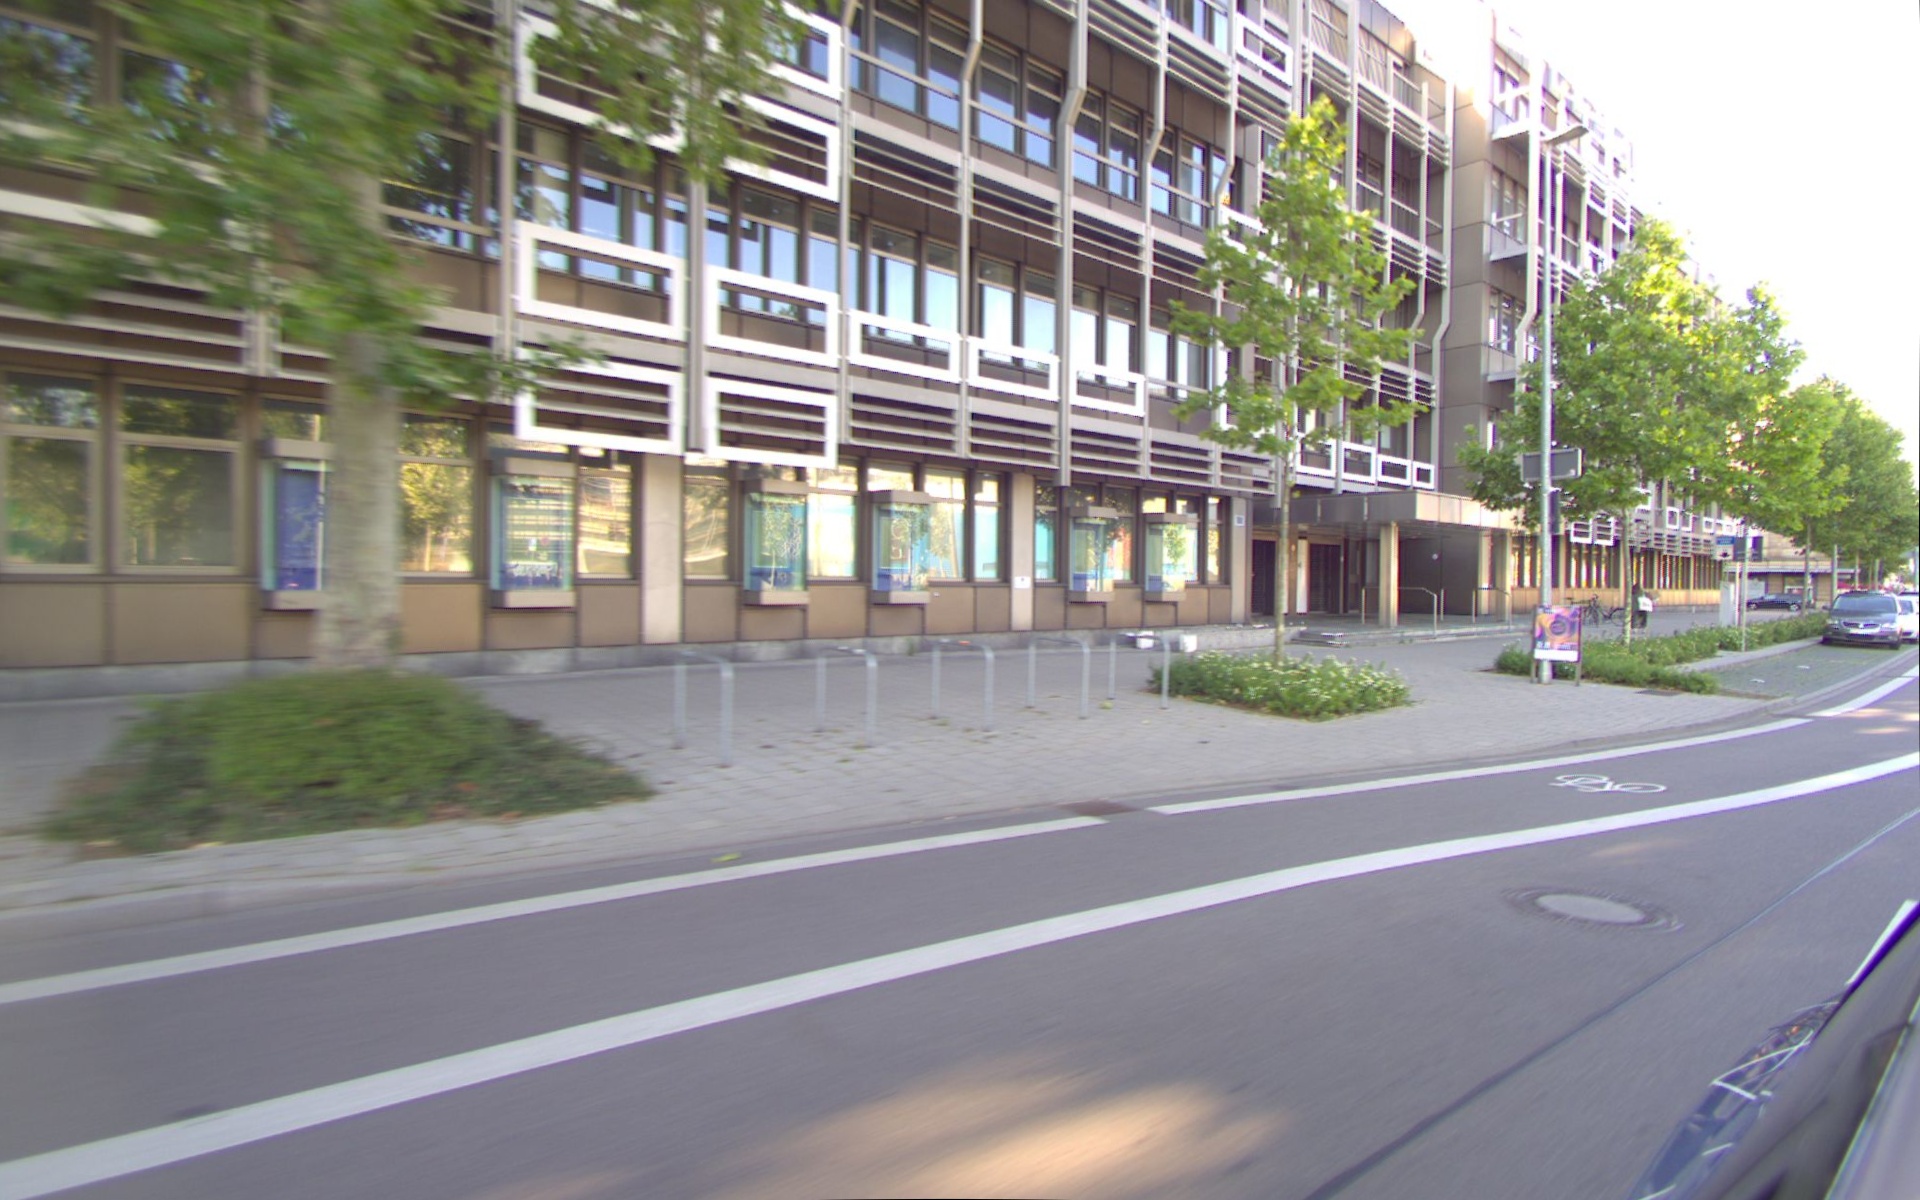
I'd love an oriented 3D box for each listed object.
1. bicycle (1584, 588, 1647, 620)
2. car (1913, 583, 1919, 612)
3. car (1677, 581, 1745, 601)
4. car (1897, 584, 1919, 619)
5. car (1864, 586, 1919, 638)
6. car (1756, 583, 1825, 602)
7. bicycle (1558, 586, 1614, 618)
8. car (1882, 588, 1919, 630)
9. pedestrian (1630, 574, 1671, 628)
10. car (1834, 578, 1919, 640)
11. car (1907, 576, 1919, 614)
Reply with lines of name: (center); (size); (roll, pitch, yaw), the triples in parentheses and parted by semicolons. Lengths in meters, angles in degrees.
bicycle: (24.086, 0.136, 37.225); (1.899, 1.106, 0.386); (3, 2, 43)
car: (56.286, -0.112, 58.162); (1.930, 1.618, 4.630); (3, 3, 41)
car: (63.148, -0.743, 85.153); (4.527, 1.615, 1.839); (1, 2, 36)
car: (44.192, 0.086, 46.241); (4.132, 1.508, 1.666); (0, 3, -42)
car: (32.551, 0.378, 34.887); (4.146, 1.641, 1.730); (0, 3, -44)
car: (67.303, -0.628, 82.092); (4.249, 1.468, 1.839); (1, 2, 36)
bicycle: (22.186, 0.062, 35.905); (0.385, 1.095, 1.630); (0, 2, -40)
car: (36.512, 0.335, 38.466); (4.302, 1.467, 1.797); (0, 3, -43)
pedestrian: (21.741, 0.017, 31.874); (1.117, 1.669, 0.790); (0, 2, -42)
car: (28.136, 0.236, 30.916); (4.439, 1.709, 1.730); (0, 3, -44)
car: (51.023, -0.258, 53.139); (1.736, 1.943, 4.323); (4, 3, 44)
